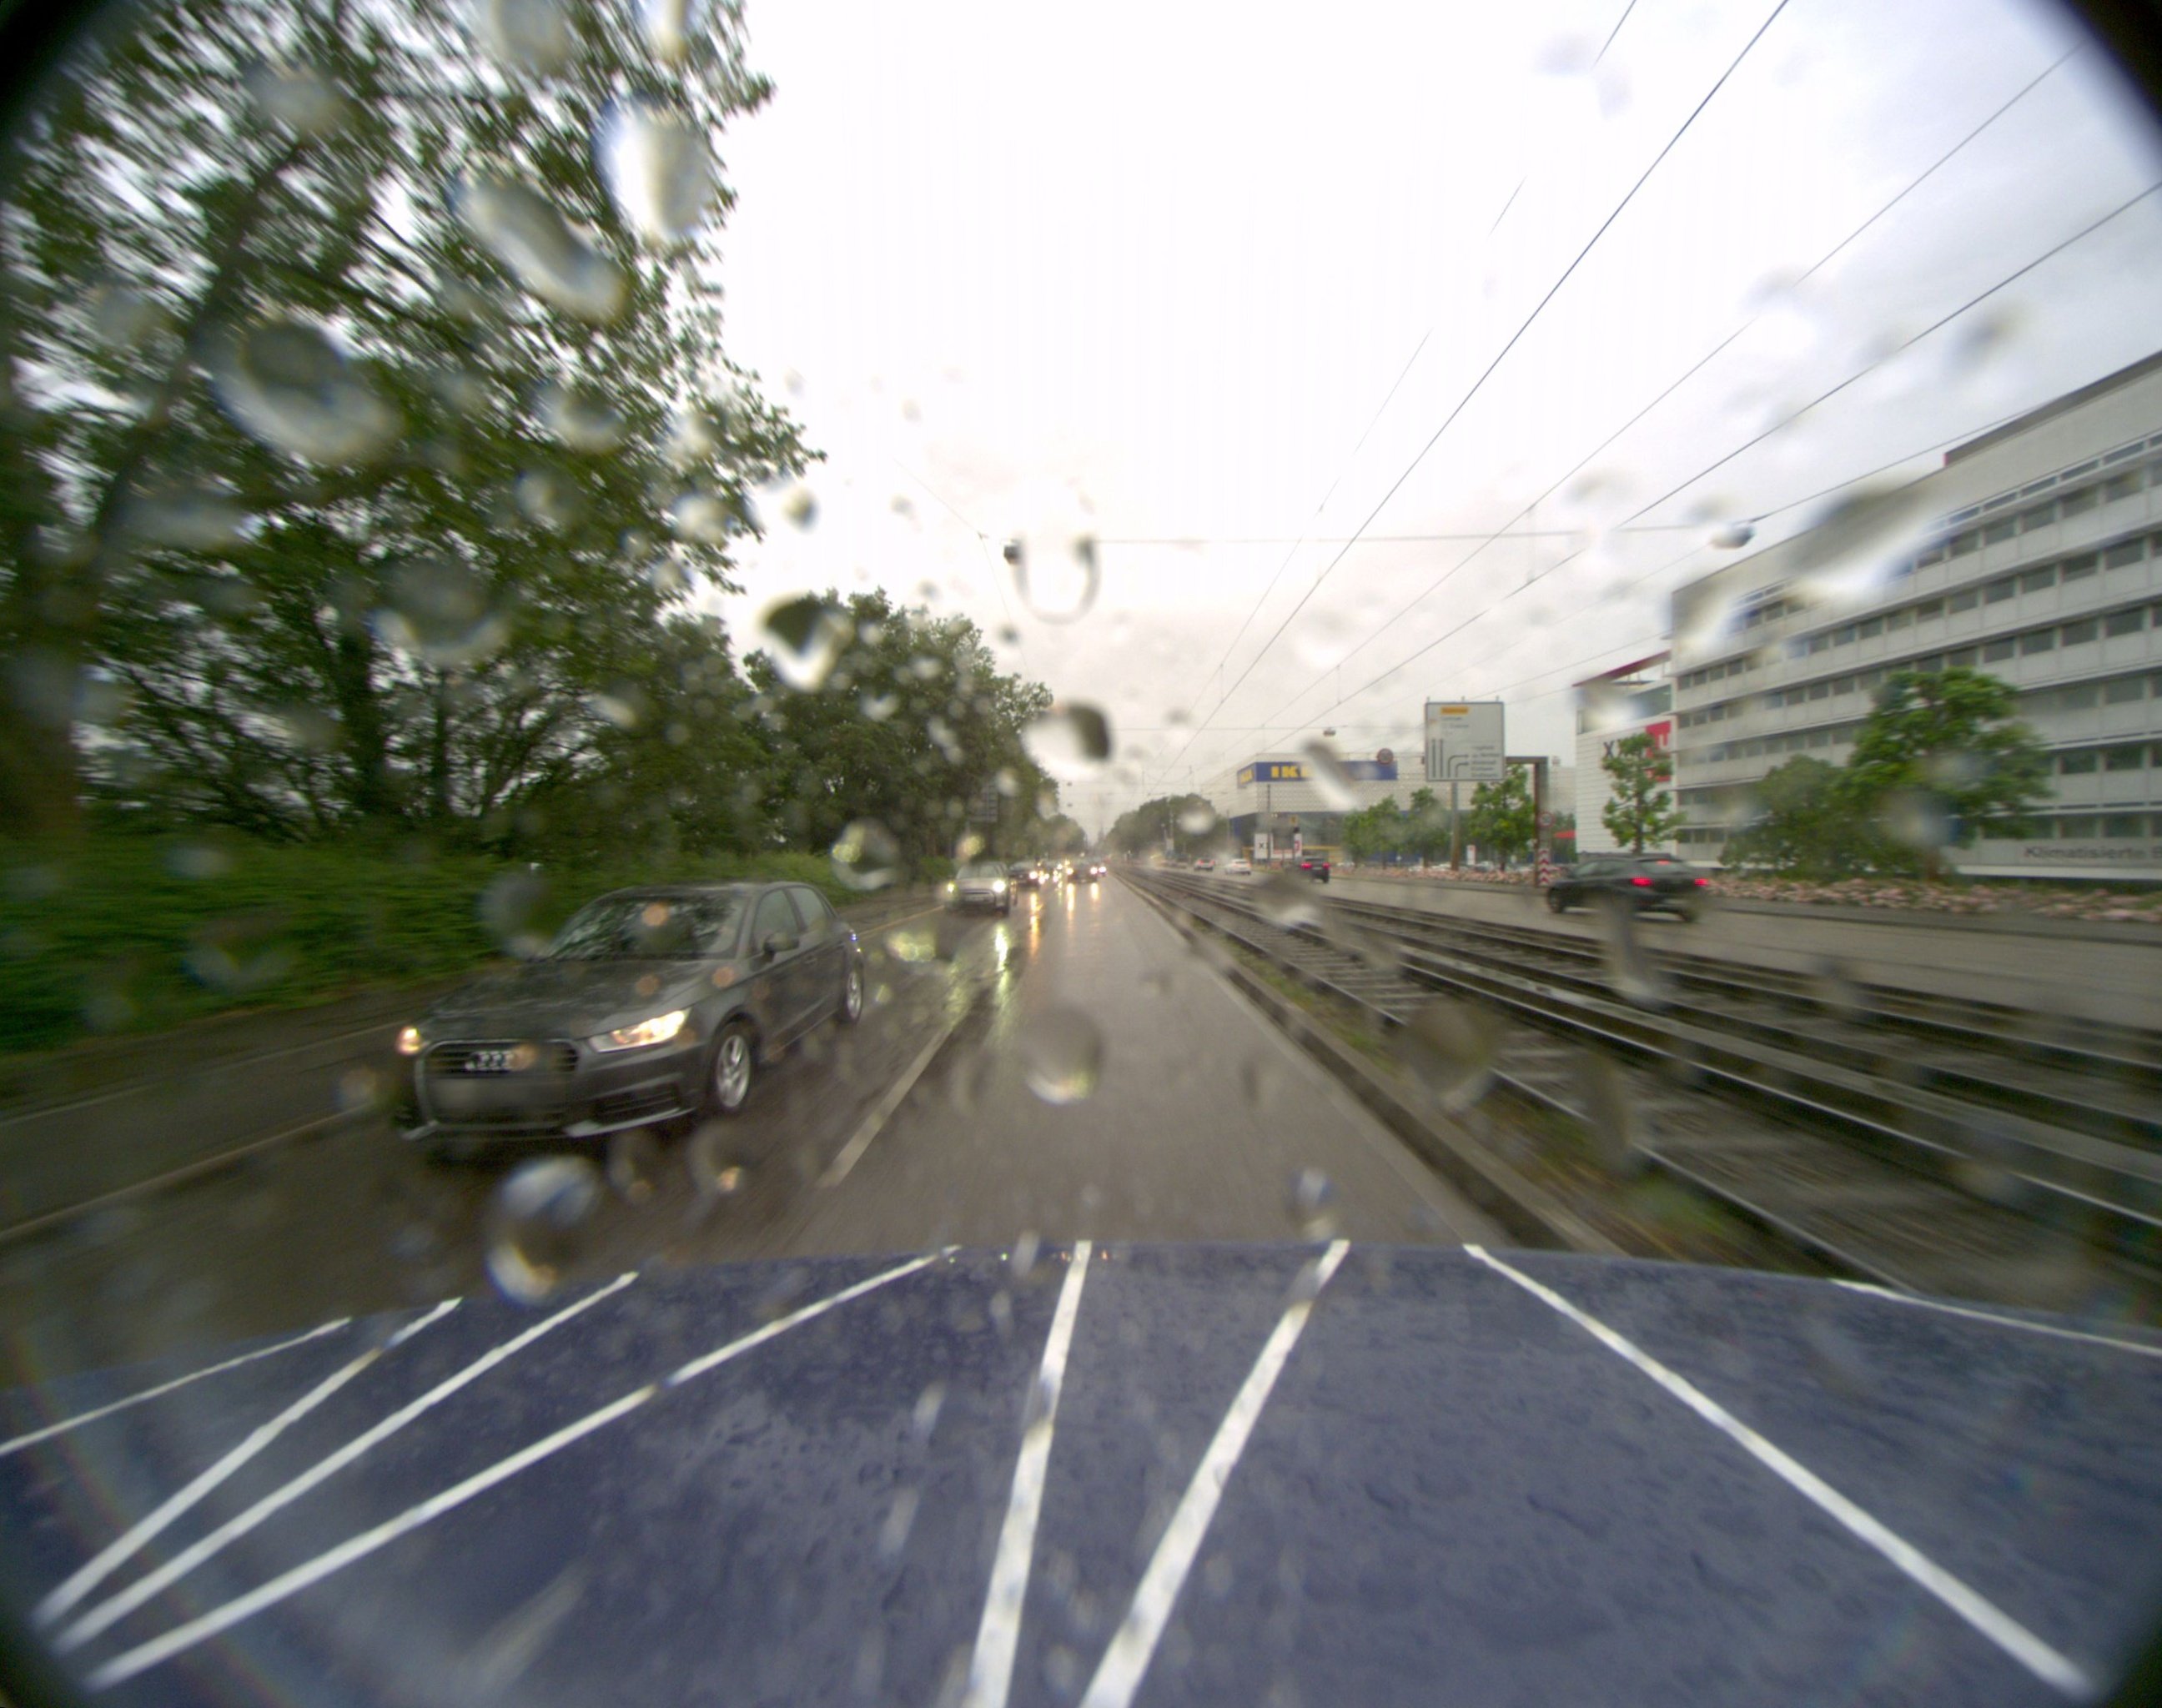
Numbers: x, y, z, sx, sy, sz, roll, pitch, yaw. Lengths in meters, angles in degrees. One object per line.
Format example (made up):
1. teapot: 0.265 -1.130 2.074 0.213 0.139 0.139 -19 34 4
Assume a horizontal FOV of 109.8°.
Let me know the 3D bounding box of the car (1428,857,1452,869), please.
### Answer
1. car: 60.996 1.502 129.133 1.999 2.002 4.090 -3 0 -2

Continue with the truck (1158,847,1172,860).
1. truck: 17.058 -0.121 154.429 2.232 2.447 6.066 1 0 1

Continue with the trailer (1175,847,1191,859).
1. trailer: 15.961 -0.113 119.581 2.124 1.782 3.837 -3 0 3

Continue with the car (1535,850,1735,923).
1. car: 13.492 0.716 18.890 1.998 1.608 4.253 -1 0 2

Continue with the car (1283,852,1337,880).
1. car: 14.577 0.736 48.669 1.998 1.711 4.882 0 0 1

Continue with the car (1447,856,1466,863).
1. car: 94.549 1.362 191.516 3.982 1.399 1.602 -2 1 3

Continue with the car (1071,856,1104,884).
1. car: 0.338 0.975 47.049 1.876 1.573 4.043 -3 -1 -1

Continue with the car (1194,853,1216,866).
1. car: 15.211 0.638 93.319 1.998 1.574 4.766 0 0 2

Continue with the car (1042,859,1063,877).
1. car: -2.527 1.268 67.915 1.715 1.476 4.043 -3 -1 0

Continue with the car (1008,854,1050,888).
1. car: -2.421 0.808 36.351 1.776 1.453 4.092 -3 -1 -1

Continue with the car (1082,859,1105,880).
1. car: 0.954 1.222 59.096 1.715 1.515 4.043 -3 -1 0

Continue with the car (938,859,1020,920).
1. car: -2.755 0.927 21.345 1.796 1.406 3.853 -2 1 -1

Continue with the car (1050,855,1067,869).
1. car: -2.542 0.918 85.061 1.715 1.515 4.043 -3 -1 0

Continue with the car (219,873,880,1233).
1. car: -2.966 0.963 5.496 1.973 1.519 3.990 -2 0 -1

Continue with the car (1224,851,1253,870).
1. car: 14.680 0.588 70.977 1.776 1.673 4.688 0 0 0

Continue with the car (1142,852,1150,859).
1. car: 16.199 0.381 189.396 1.823 1.613 4.536 -1 0 1

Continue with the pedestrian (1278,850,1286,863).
1. pedestrian: 28.292 0.337 106.874 0.824 1.752 1.050 -4 1 3

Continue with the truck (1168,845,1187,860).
1. truck: 15.846 -0.229 125.243 2.441 2.443 7.219 0 0 2

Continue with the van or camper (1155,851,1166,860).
1. van or camper: 18.145 0.247 173.635 2.310 2.002 5.686 0 0 2
